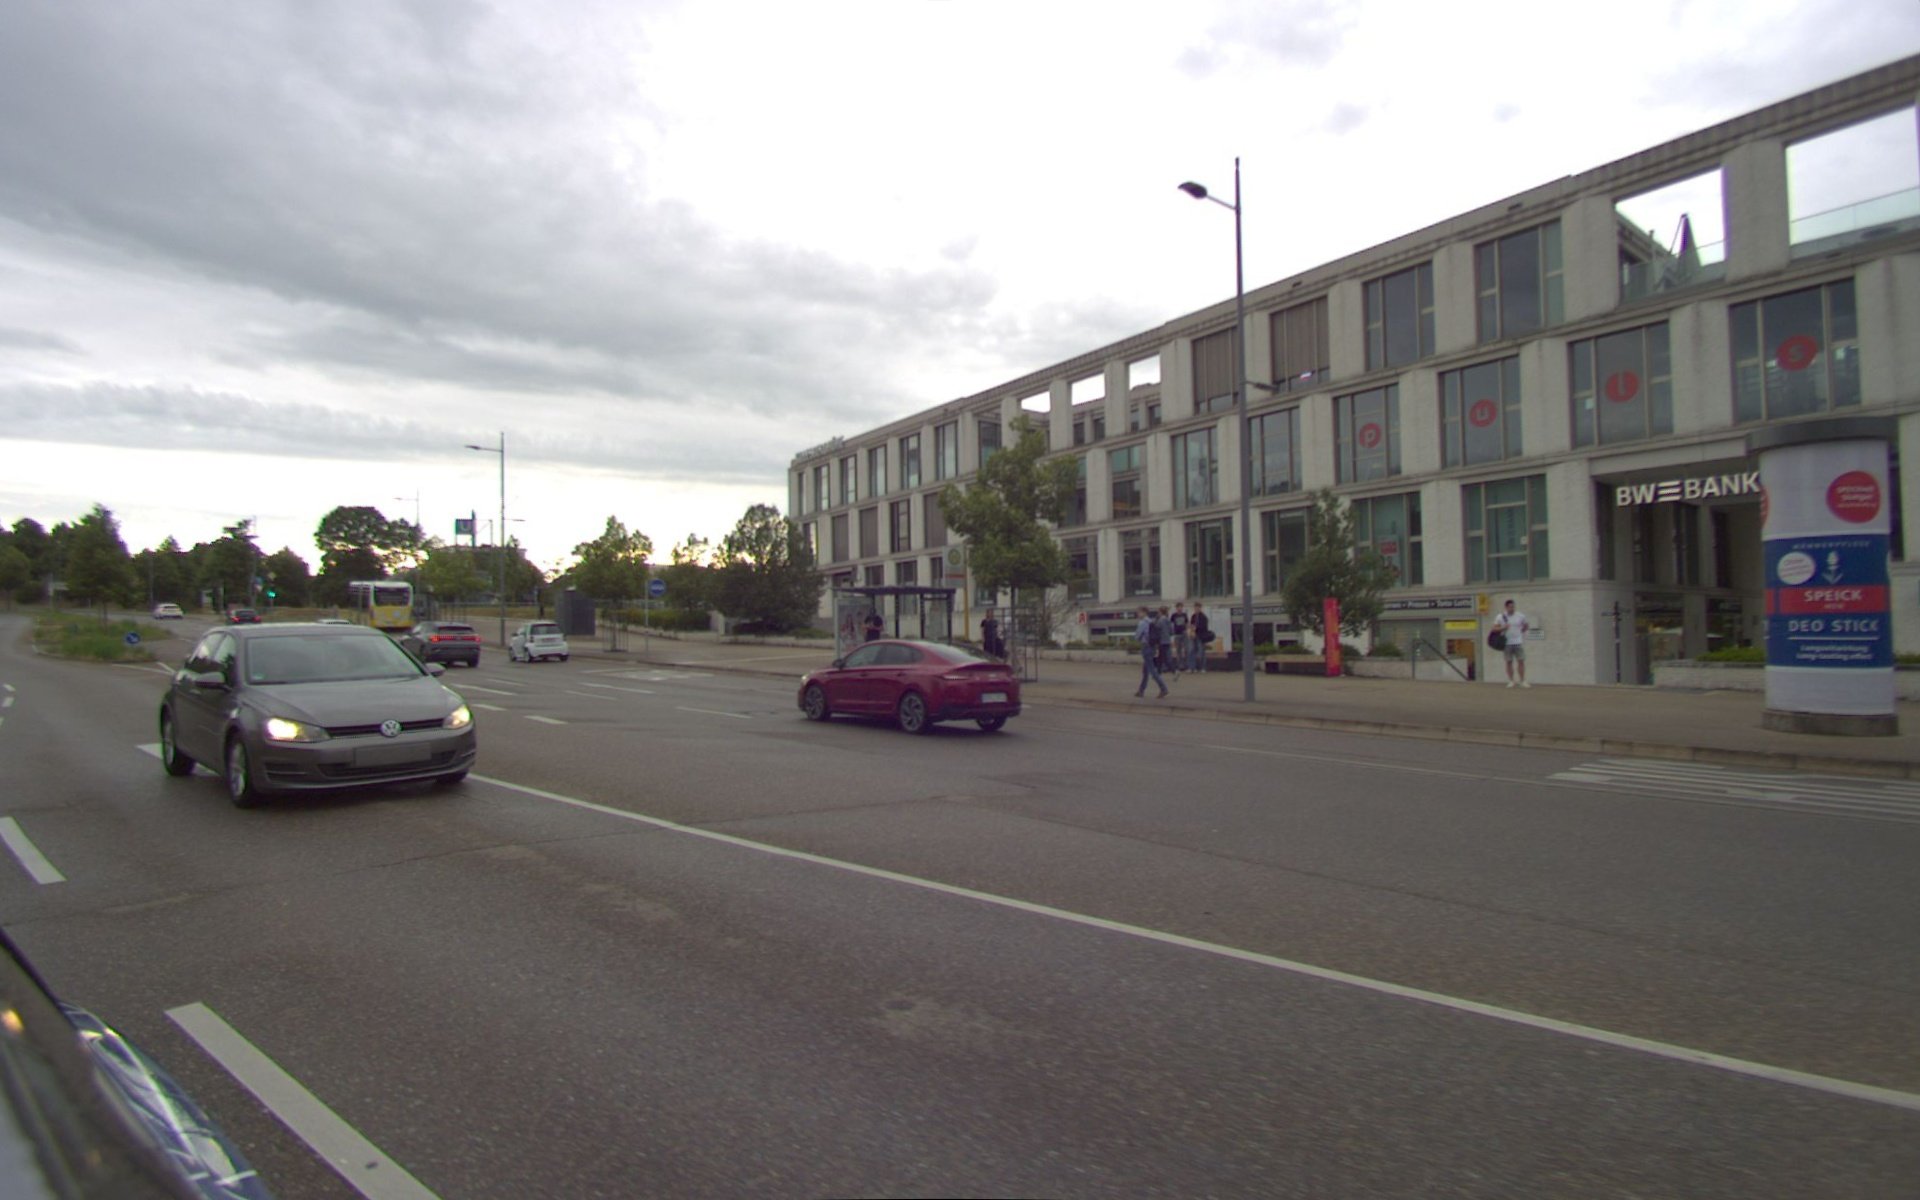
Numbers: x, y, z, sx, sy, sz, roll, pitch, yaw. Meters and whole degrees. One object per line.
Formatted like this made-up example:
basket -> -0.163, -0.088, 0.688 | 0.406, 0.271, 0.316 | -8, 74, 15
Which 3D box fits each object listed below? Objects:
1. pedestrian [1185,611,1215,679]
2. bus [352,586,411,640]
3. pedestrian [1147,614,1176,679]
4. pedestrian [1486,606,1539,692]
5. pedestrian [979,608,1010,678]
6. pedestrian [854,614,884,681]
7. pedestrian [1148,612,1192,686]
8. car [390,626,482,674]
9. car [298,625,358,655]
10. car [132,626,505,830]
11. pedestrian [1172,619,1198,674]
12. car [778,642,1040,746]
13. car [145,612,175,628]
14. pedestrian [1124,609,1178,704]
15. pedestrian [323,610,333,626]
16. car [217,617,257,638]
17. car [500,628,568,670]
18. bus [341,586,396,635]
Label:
pedestrian -> 6.271, 1.171, 26.453 | 0.421, 1.738, 0.621 | 1, -2, -42
bus -> -40.207, 0.791, 70.198 | 2.784, 3.498, 8.252 | -1, 1, -35
pedestrian -> 5.400, 1.237, 27.148 | 0.518, 1.738, 0.567 | 1, -2, -40
pedestrian -> 11.183, 0.981, 20.486 | 0.912, 1.703, 0.493 | -1, -1, 31
pedestrian -> 0.922, 1.144, 27.270 | 0.573, 1.870, 0.607 | 1, -2, -45
pedestrian -> -2.579, 1.336, 28.646 | 0.501, 1.856, 0.756 | 1, -2, -43
pedestrian -> 5.099, 1.177, 24.624 | 0.591, 1.775, 0.858 | 1, -2, -40
car -> -19.208, 1.794, 36.982 | 1.809, 1.584, 4.599 | 4, -3, -42
car -> -32.668, 2.048, 52.238 | 1.850, 1.441, 4.181 | 4, -3, -42
car -> -6.007, 0.988, 9.266 | 4.196, 1.441, 1.786 | -1, -4, 42
pedestrian -> 6.088, 1.247, 27.380 | 0.421, 1.462, 0.510 | 1, -2, -42
car -> -0.955, 1.437, 16.467 | 1.809, 1.427, 4.470 | 4, -4, -42
car -> -77.098, 1.911, 97.516 | 1.969, 1.429, 4.518 | 0, -1, -42
pedestrian -> 3.809, 1.102, 20.145 | 0.744, 1.856, 0.747 | 1, -2, -40
pedestrian -> -62.882, 1.781, 100.712 | 0.813, 1.606, 0.607 | -4, -3, 43
car -> -51.459, 1.947, 71.997 | 1.824, 1.473, 3.872 | 2, -2, -42
car -> -17.006, 1.921, 40.346 | 1.594, 1.519, 2.976 | -1, 0, -42
bus -> -45.477, 0.699, 77.698 | 2.784, 3.498, 9.999 | -1, 1, -35
